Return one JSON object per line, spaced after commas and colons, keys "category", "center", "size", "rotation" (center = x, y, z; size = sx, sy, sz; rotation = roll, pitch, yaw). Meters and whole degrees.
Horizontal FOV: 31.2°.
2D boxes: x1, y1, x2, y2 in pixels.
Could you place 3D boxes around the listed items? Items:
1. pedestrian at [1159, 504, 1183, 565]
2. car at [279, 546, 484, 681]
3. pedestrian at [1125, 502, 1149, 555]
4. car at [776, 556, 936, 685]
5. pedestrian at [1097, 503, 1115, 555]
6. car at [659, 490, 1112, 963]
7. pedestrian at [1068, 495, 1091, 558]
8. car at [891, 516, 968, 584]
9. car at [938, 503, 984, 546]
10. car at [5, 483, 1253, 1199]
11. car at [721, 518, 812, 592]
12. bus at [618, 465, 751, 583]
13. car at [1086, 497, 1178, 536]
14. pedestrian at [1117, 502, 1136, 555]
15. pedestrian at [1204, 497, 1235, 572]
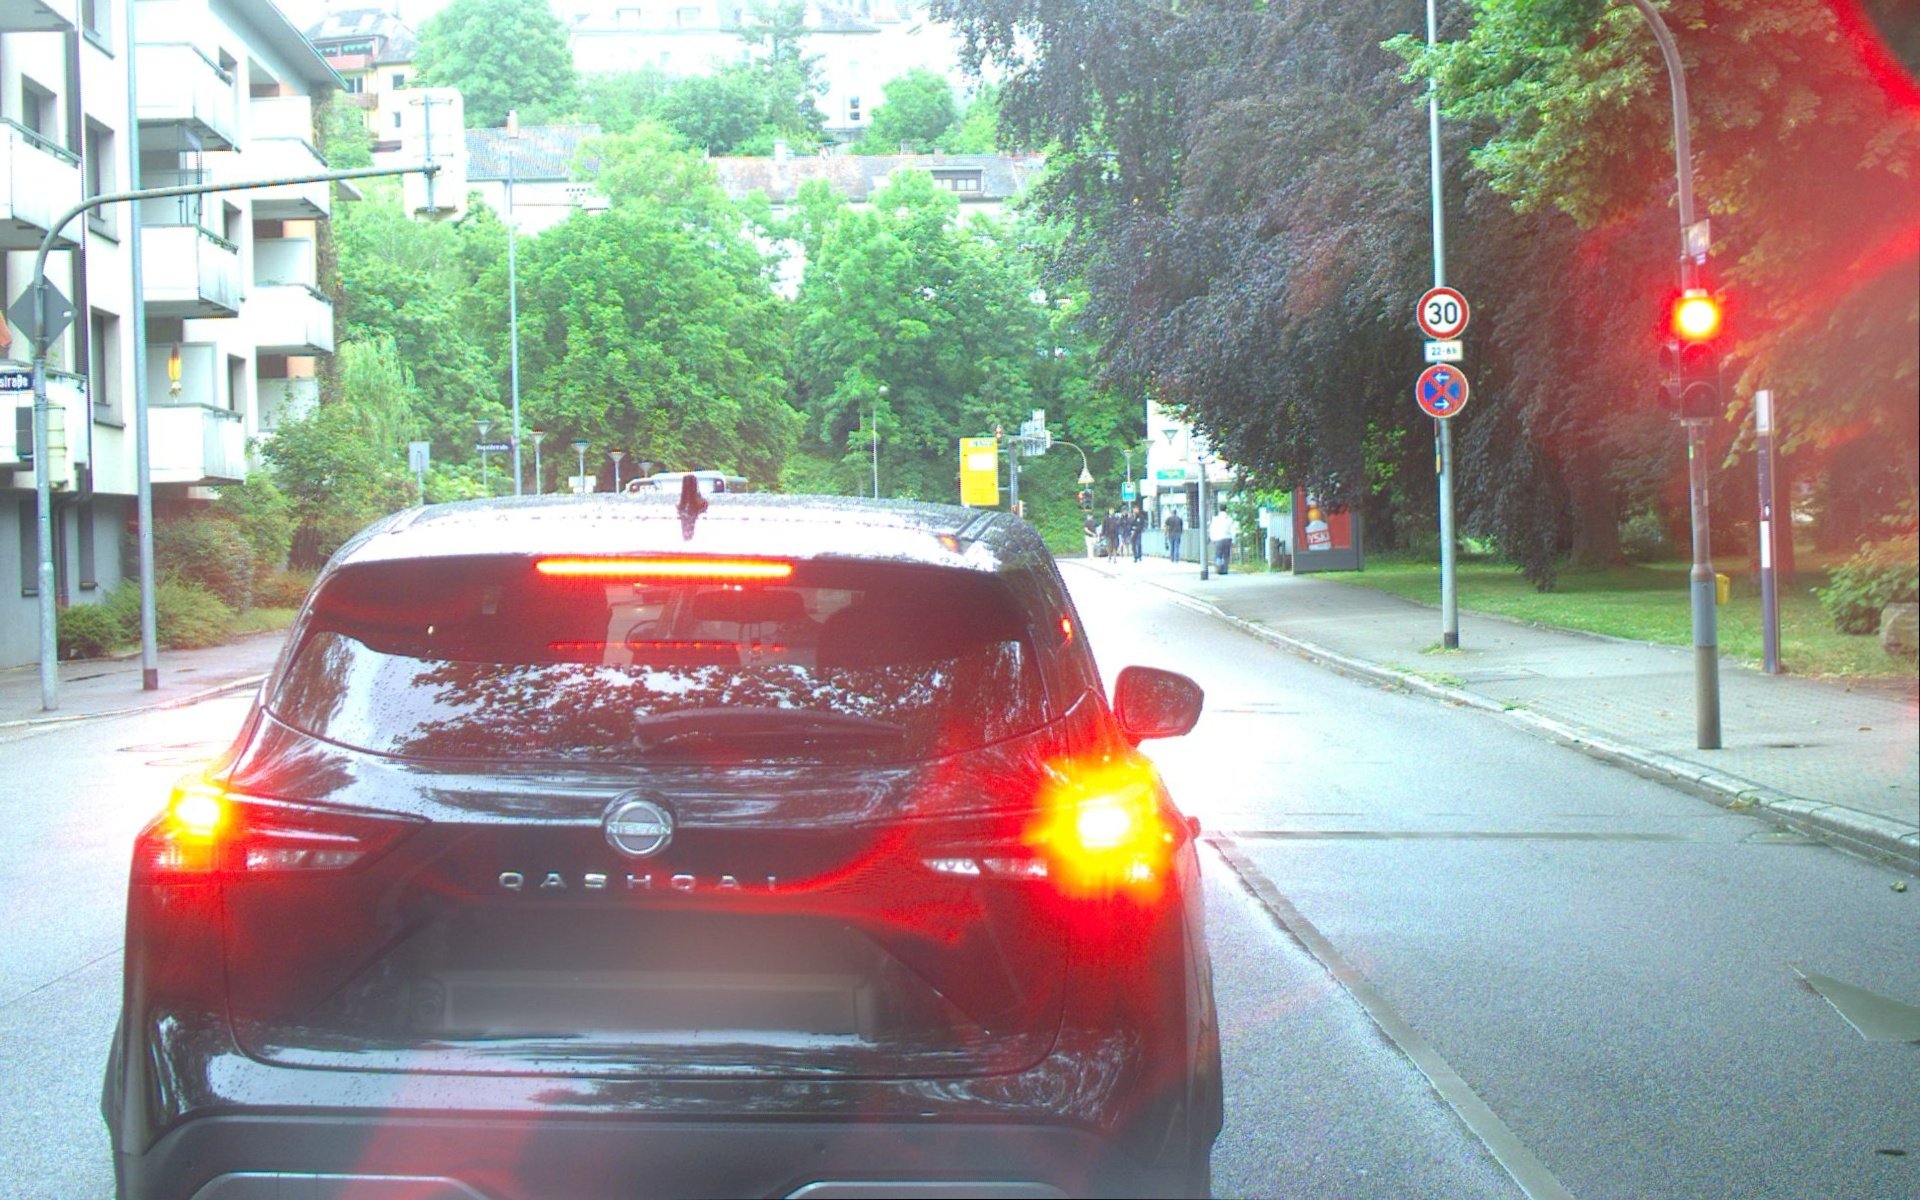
{"category": "pedestrian", "center": [6.316, -1.960, 102.893], "size": [0.618, 1.773, 0.551], "rotation": [-2, 1, -1]}
{"category": "car", "center": [-6.829, 0.121, 40.943], "size": [1.808, 1.412, 4.031], "rotation": [-3, 1, -2]}
{"category": "pedestrian", "center": [5.596, -2.257, 108.940], "size": [0.699, 1.645, 0.628], "rotation": [1, 0, 0]}
{"category": "car", "center": [-1.247, 0.211, 41.131], "size": [1.808, 1.412, 4.031], "rotation": [0, 1, -2]}
{"category": "pedestrian", "center": [4.622, -2.251, 108.834], "size": [0.544, 1.645, 0.490], "rotation": [1, 0, 0]}
{"category": "car", "center": [-0.243, 0.434, 14.682], "size": [1.622, 1.703, 3.771], "rotation": [-2, 1, 1]}
{"category": "pedestrian", "center": [4.172, -2.550, 119.602], "size": [0.768, 2.176, 0.711], "rotation": [1, 0, 3]}
{"category": "car", "center": [-0.656, -1.125, 76.416], "size": [1.624, 1.410, 3.455], "rotation": [-2, 1, 0]}
{"category": "car", "center": [0.026, -3.007, 136.331], "size": [1.750, 1.628, 3.635], "rotation": [-2, 1, 0]}
{"category": "car", "center": [-0.508, 0.614, 7.019], "size": [1.806, 1.584, 4.000], "rotation": [1, 1, -1]}
{"category": "car", "center": [-3.953, -0.937, 70.676], "size": [1.624, 1.410, 3.455], "rotation": [-2, 1, 0]}
{"category": "bus", "center": [-7.451, -2.062, 94.515], "size": [2.766, 2.964, 11.782], "rotation": [-2, 1, -1]}
{"category": "car", "center": [8.177, -3.972, 163.659], "size": [3.986, 1.678, 2.001], "rotation": [-2, 1, -10]}
{"category": "pedestrian", "center": [5.217, -2.224, 107.713], "size": [0.514, 1.650, 0.550], "rotation": [1, 0, -1]}
{"category": "pedestrian", "center": [6.283, -1.584, 83.160], "size": [0.618, 1.773, 0.778], "rotation": [-2, 1, -1]}
